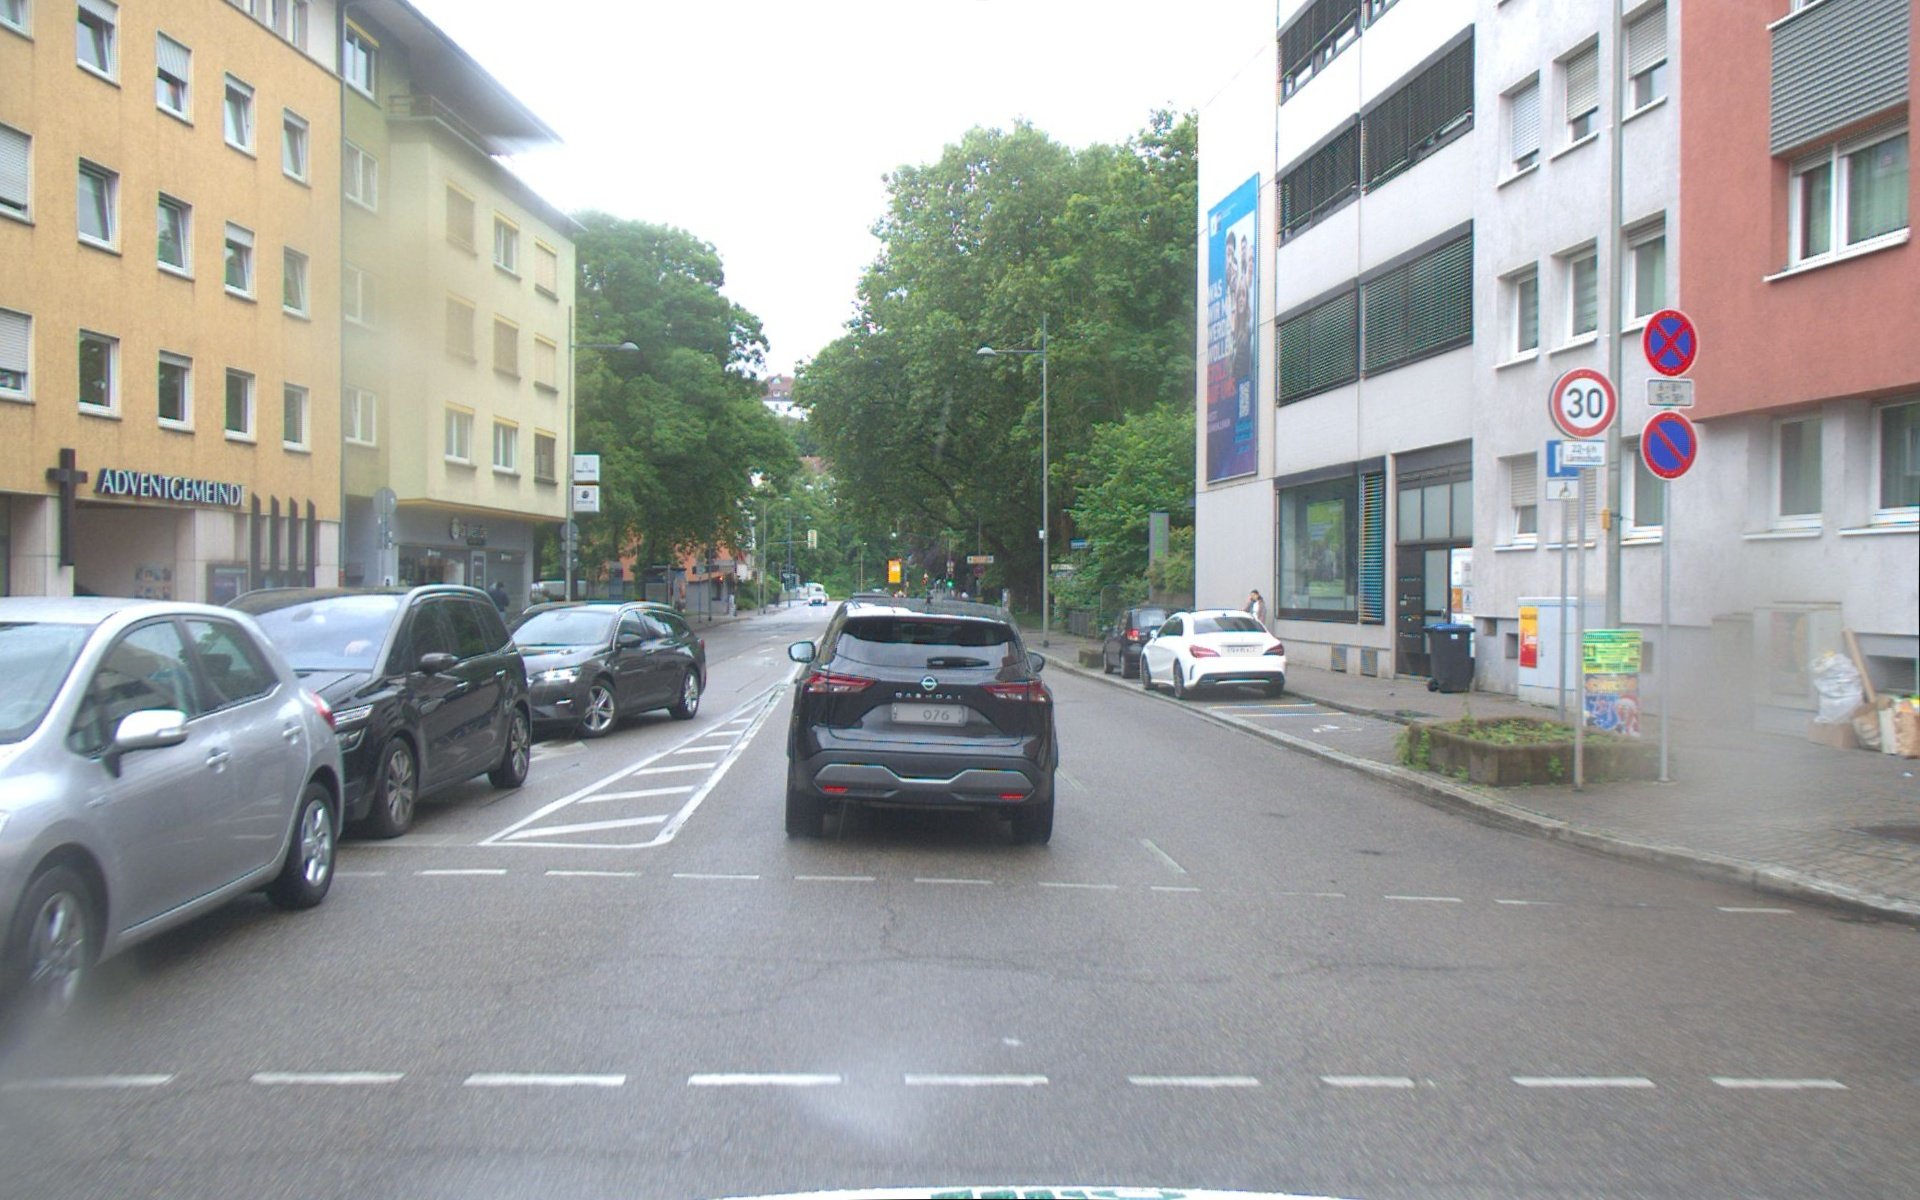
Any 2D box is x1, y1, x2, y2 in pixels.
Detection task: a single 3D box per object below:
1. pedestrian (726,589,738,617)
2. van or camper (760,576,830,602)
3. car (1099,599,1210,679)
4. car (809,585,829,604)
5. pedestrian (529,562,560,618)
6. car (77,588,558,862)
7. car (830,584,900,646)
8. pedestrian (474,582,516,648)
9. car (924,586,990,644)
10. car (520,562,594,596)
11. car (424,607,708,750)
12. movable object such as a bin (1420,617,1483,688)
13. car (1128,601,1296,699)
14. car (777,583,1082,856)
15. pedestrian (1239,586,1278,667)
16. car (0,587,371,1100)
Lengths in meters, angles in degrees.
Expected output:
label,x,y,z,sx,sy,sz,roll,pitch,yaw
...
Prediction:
label,x,y,z,sx,sy,sz,roll,pitch,yaw
pedestrian,-15.193,0.215,110.183,0.654,1.822,0.720,2,1,-10
van or camper,-25.817,-1.769,259.563,10.717,3.619,3.182,2,1,-5
car,4.047,0.771,34.975,1.680,1.467,4.080,-2,1,-3
car,-14.680,-0.584,172.550,1.784,1.827,3.864,2,1,-2
pedestrian,-12.970,-0.325,51.631,0.782,1.718,0.816,0,1,-4
car,-4.399,0.752,12.152,1.783,1.636,4.430,0,0,0
car,-2.764,0.413,48.763,1.907,1.714,3.998,-2,0,-2
pedestrian,-13.300,0.430,47.314,0.847,1.819,0.875,3,1,2
car,-0.132,0.482,56.634,1.908,1.848,3.996,-2,0,-5
car,-22.936,-1.207,94.228,3.759,1.764,1.878,2,1,-5
car,-4.419,0.819,19.294,1.782,1.458,4.402,0,0,7
movable object such as a bin,7.873,0.833,26.513,0.699,1.087,0.782,0,1,-10
car,4.243,0.798,28.552,1.740,1.425,4.574,-2,1,-6
car,-0.347,0.745,12.214,1.857,1.657,3.996,1,0,-5
pedestrian,6.667,0.588,36.964,0.601,1.767,0.679,-2,0,-11
car,-3.940,0.743,6.586,1.895,1.553,4.132,0,0,-3
